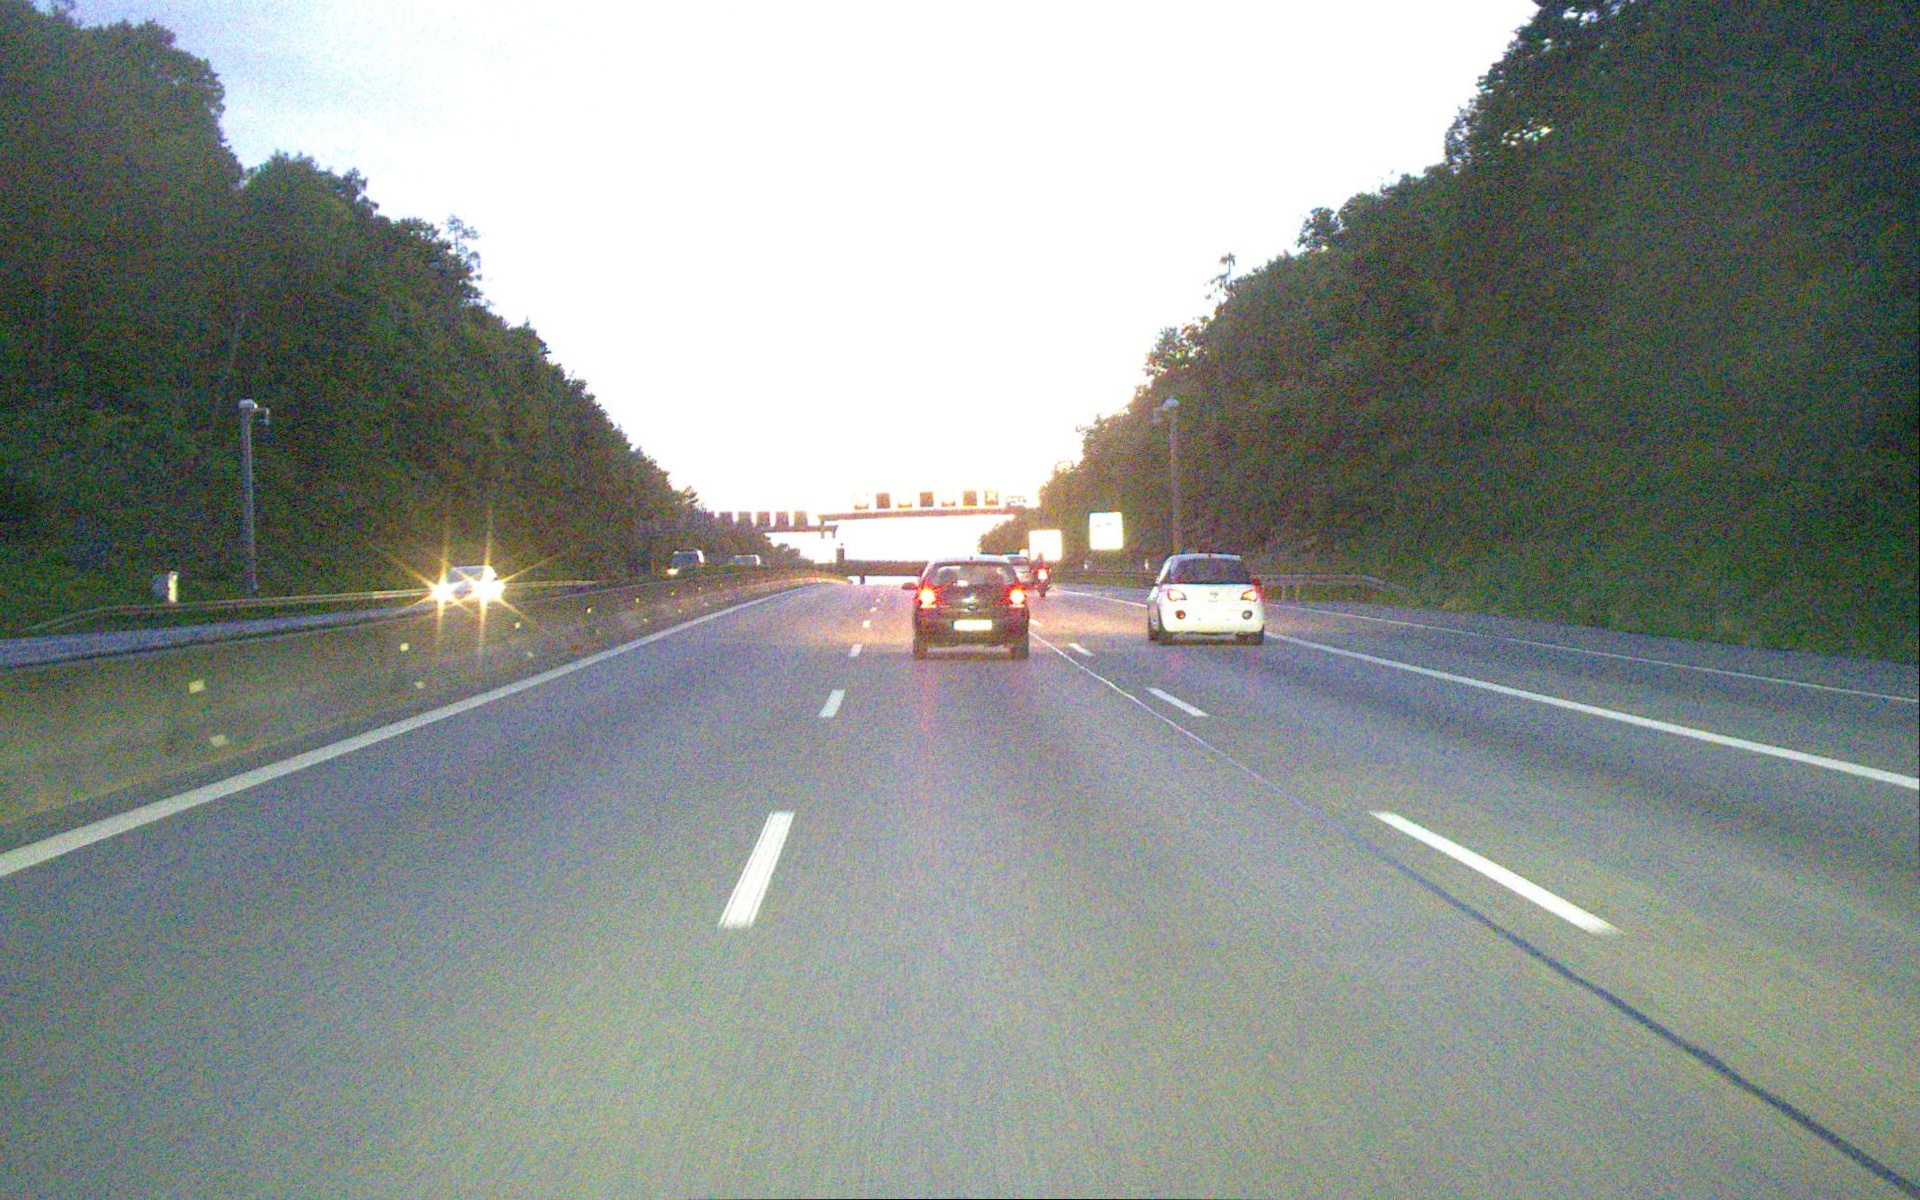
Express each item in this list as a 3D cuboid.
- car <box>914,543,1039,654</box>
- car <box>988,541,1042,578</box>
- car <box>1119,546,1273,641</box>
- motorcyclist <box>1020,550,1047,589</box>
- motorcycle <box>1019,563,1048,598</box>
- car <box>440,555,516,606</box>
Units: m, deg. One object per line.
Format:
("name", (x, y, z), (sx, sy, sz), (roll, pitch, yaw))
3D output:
("car", (0.210, -0.004, 49.521), (1.704, 1.504, 4.232), (1, -1, -1))
("car", (2.366, -1.736, 148.525), (1.865, 1.489, 4.399), (1, -1, -5))
("car", (3.828, -0.083, 56.455), (1.825, 1.471, 4.399), (1, -1, -5))
("motorcyclist", (2.415, -0.999, 112.888), (0.829, 1.287, 1.190), (-1, 0, -1))
("motorcycle", (2.418, -0.632, 112.955), (0.829, 1.130, 2.476), (-1, 0, -1))
("car", (-15.506, -0.655, 110.731), (1.880, 1.569, 4.655), (-1, 1, -1))
